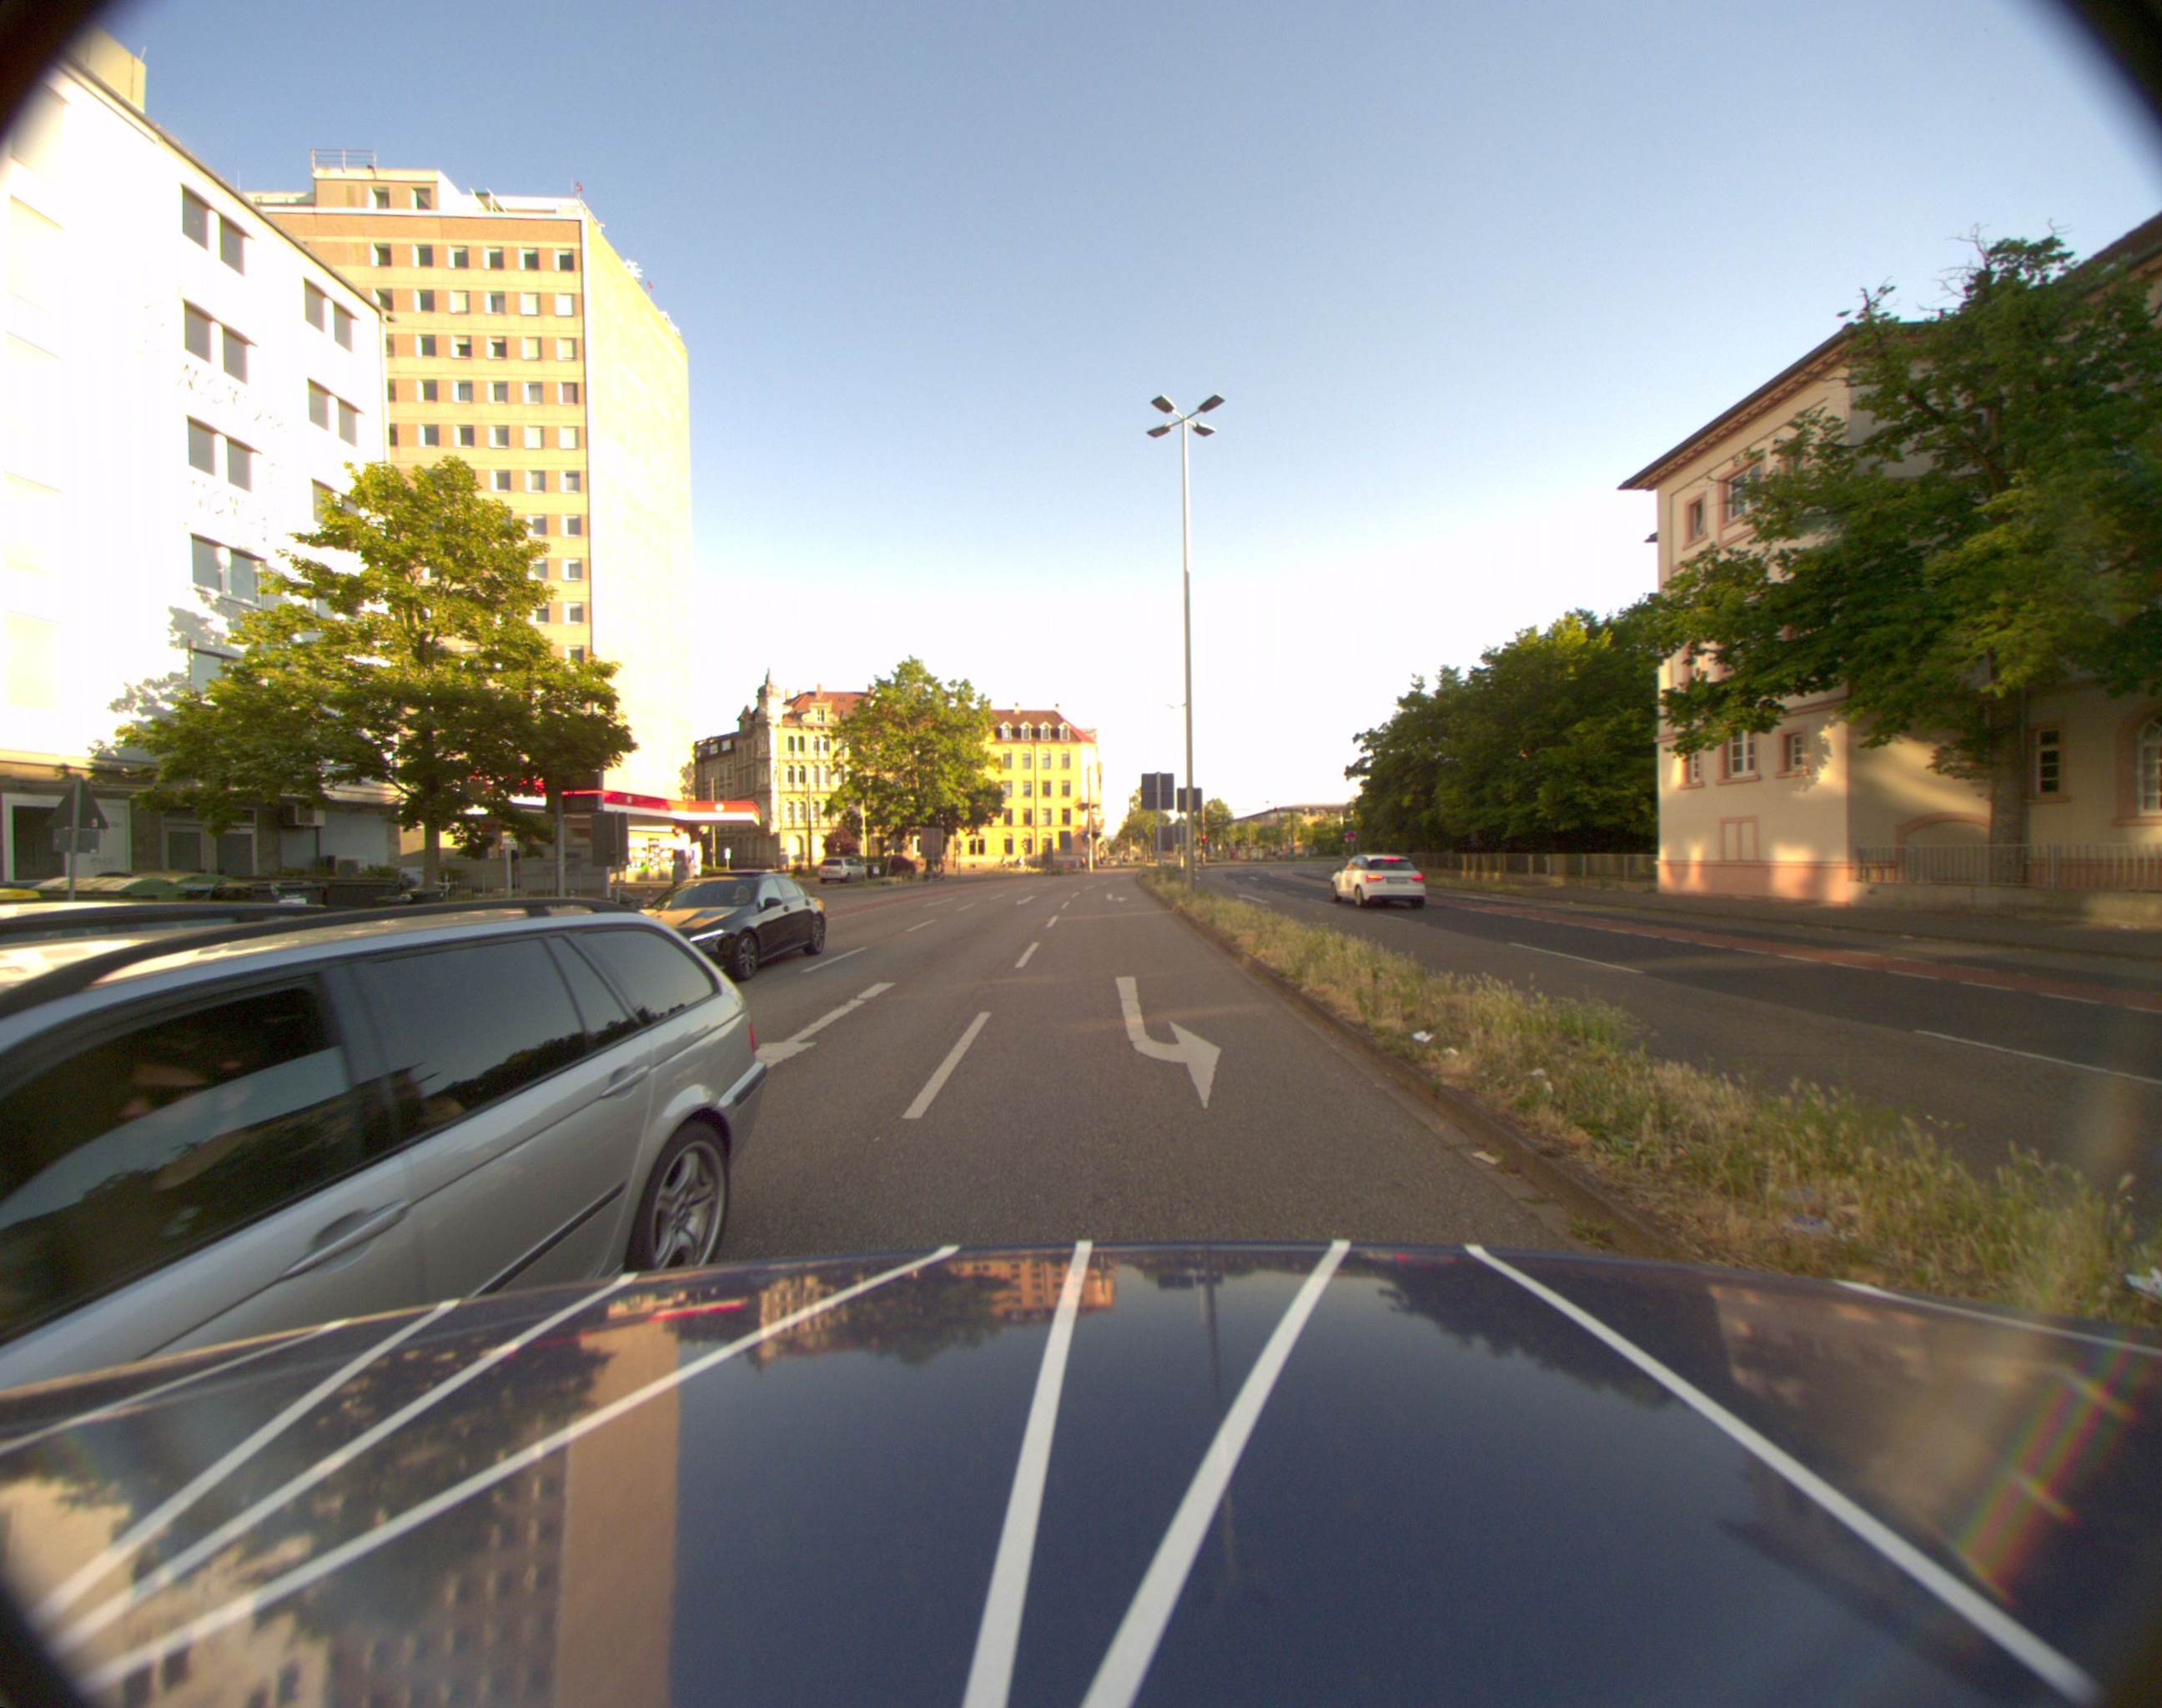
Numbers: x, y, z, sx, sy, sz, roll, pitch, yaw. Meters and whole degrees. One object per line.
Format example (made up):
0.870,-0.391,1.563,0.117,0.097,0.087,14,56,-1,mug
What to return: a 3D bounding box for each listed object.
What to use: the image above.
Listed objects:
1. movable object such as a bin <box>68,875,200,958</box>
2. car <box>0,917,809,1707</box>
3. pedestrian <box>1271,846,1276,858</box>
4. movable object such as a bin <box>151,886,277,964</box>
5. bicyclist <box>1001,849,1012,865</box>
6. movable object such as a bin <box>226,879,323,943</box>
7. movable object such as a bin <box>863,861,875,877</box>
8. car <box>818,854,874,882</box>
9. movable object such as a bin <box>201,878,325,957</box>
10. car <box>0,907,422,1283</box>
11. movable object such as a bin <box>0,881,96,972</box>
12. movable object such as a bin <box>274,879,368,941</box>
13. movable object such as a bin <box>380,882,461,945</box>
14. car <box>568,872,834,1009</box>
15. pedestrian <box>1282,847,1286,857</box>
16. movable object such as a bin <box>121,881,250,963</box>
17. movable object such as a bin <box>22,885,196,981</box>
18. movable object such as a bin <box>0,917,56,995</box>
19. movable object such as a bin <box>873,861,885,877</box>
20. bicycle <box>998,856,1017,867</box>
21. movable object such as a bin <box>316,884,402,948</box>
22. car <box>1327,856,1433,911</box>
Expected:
-18.301,1.173,14.725,1.034,1.490,1.162,-1,1,-2,movable object such as a bin
-2.240,1.043,1.395,1.674,1.410,4.441,-2,0,2,car
32.484,-0.284,128.156,0.556,2.002,0.664,-1,1,1,pedestrian
-16.041,1.292,14.103,0.956,1.320,1.162,-1,1,-2,movable object such as a bin
-7.616,0.295,78.007,1.065,1.639,0.732,-1,1,-7,bicyclist
-17.932,1.245,16.924,0.956,1.320,1.098,-1,1,-2,movable object such as a bin
-13.870,0.988,49.773,0.544,1.013,0.688,-1,1,5,movable object such as a bin
-13.956,0.818,45.283,1.688,1.508,3.797,-1,1,8,car
-14.896,1.136,13.881,0.956,1.320,1.162,-1,1,-2,movable object such as a bin
-5.378,1.116,3.292,1.584,1.441,3.872,-2,0,1,car
-18.692,1.257,13.413,1.034,1.490,1.162,-1,1,-2,movable object such as a bin
-16.934,1.232,16.968,0.956,1.276,1.098,-1,1,-2,movable object such as a bin
-14.881,1.327,17.145,0.956,1.320,0.953,-1,1,-2,movable object such as a bin
-5.143,1.072,10.995,1.731,1.441,4.045,-2,0,1,car
34.040,-0.312,127.465,0.467,1.695,0.419,-1,1,1,pedestrian
-17.125,1.272,14.572,1.034,1.440,1.162,-1,1,-2,movable object such as a bin
-15.877,1.262,12.462,1.351,1.415,1.105,-1,1,-4,movable object such as a bin
-15.515,1.458,10.754,0.853,1.039,0.819,-1,1,-4,movable object such as a bin
-13.150,0.973,49.562,0.544,1.013,0.688,-1,1,5,movable object such as a bin
-7.511,0.799,77.885,1.927,1.053,0.451,-1,1,-7,bicycle
-15.884,1.344,16.750,0.956,1.320,0.953,-1,1,-2,movable object such as a bin
8.222,0.753,21.233,1.695,1.379,3.687,0,0,3,car
